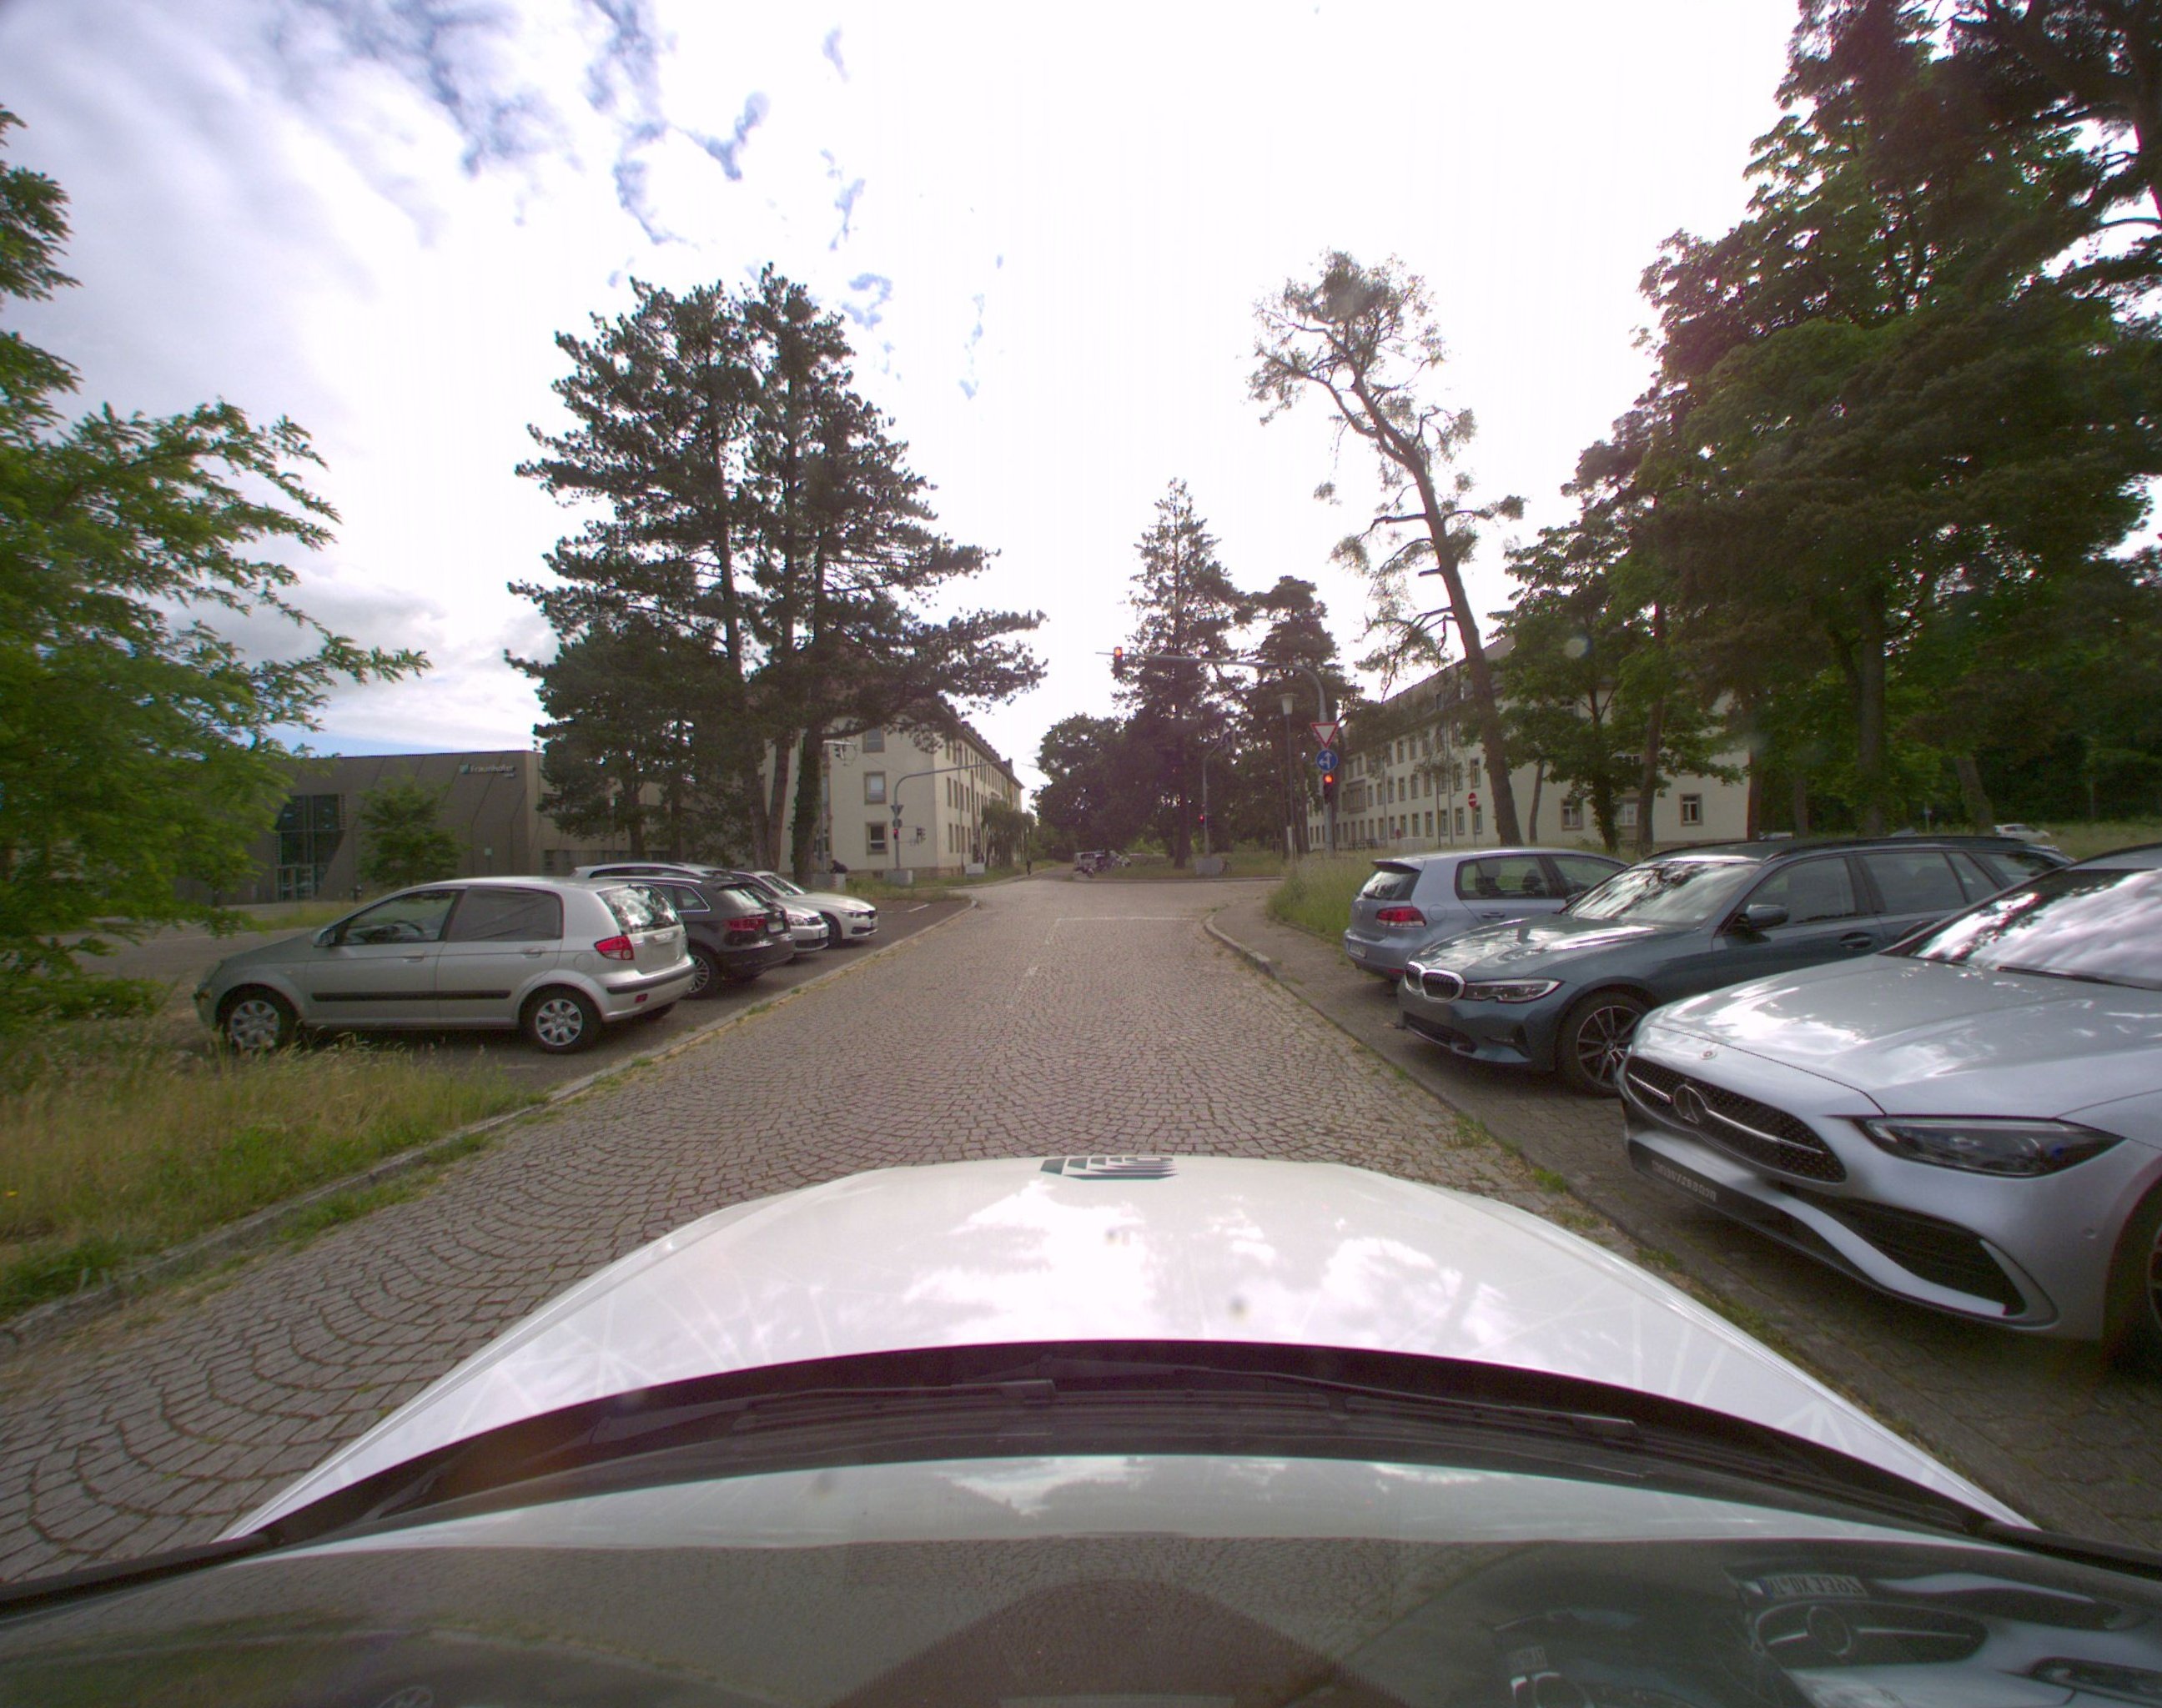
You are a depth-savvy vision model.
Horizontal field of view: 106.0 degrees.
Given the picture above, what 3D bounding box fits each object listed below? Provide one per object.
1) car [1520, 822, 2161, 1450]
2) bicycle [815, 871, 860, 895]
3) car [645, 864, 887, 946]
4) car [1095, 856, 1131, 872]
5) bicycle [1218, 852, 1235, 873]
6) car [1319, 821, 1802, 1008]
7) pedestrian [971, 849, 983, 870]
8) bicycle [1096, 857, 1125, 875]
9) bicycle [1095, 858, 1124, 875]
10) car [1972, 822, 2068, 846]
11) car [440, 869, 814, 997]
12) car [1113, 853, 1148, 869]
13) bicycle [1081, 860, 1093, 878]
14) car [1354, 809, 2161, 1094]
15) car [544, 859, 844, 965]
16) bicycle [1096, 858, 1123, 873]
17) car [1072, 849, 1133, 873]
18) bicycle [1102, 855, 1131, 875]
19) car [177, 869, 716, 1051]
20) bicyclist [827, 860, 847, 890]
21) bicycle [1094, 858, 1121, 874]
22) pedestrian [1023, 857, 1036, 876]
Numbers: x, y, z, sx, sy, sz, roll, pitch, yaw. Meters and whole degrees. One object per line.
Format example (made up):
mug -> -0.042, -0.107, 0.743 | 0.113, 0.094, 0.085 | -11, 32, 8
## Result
car -> 4.401, 0.624, 3.157 | 4.415, 1.416, 1.868 | -4, 0, -5
bicycle -> -11.656, 1.391, 38.982 | 1.948, 1.024, 0.605 | -2, 0, 0
car -> -5.877, 0.935, 15.532 | 3.935, 1.421, 1.650 | 1, 0, 0
car -> 2.808, 0.861, 71.949 | 3.001, 1.268, 1.532 | -2, 0, -5
bicycle -> 8.029, 0.468, 45.092 | 0.584, 1.106, 1.961 | -2, 0, 1
car -> 4.665, 0.564, 8.369 | 3.912, 1.477, 1.643 | -4, 0, 2
pedestrian -> -9.346, 0.499, 73.026 | 0.779, 1.837, 0.733 | -2, 0, -31
bicycle -> 2.058, 0.841, 57.230 | 1.953, 1.132, 0.587 | -2, 0, -7
bicycle -> 2.005, 0.868, 57.863 | 1.953, 1.117, 0.587 | -2, 0, -7
car -> 58.203, -1.242, 50.537 | 3.931, 1.421, 1.652 | 1, 0, 3
car -> -5.493, 0.939, 10.208 | 3.736, 1.428, 1.581 | 1, 0, -3
car -> 4.759, 0.651, 79.186 | 3.224, 1.416, 1.724 | -2, 0, -2
bicycle -> 0.407, 0.990, 54.040 | 0.602, 1.132, 1.958 | -2, 0, -5
car -> 4.662, 0.577, 5.918 | 4.668, 1.416, 1.870 | -4, 0, -2
car -> -6.008, 0.879, 12.996 | 3.938, 1.563, 1.649 | 1, 0, -3
bicycle -> 2.144, 0.887, 62.051 | 1.964, 1.069, 0.583 | -2, 0, -24
car -> 1.969, 0.624, 75.318 | 5.358, 1.925, 2.019 | -3, 0, -9
bicycle -> 2.555, 0.771, 58.692 | 1.953, 1.384, 0.587 | -2, 0, -7
car -> -5.633, 0.911, 7.611 | 3.693, 1.479, 1.581 | 1, 0, -3
bicyclist -> -11.673, 1.003, 38.982 | 0.746, 1.410, 0.605 | -2, 0, 0
bicycle -> 1.924, 0.899, 59.347 | 1.967, 1.069, 0.582 | -2, 0, -29
pedestrian -> -4.511, 1.099, 71.604 | 0.767, 1.618, 0.745 | -2, 0, 25
